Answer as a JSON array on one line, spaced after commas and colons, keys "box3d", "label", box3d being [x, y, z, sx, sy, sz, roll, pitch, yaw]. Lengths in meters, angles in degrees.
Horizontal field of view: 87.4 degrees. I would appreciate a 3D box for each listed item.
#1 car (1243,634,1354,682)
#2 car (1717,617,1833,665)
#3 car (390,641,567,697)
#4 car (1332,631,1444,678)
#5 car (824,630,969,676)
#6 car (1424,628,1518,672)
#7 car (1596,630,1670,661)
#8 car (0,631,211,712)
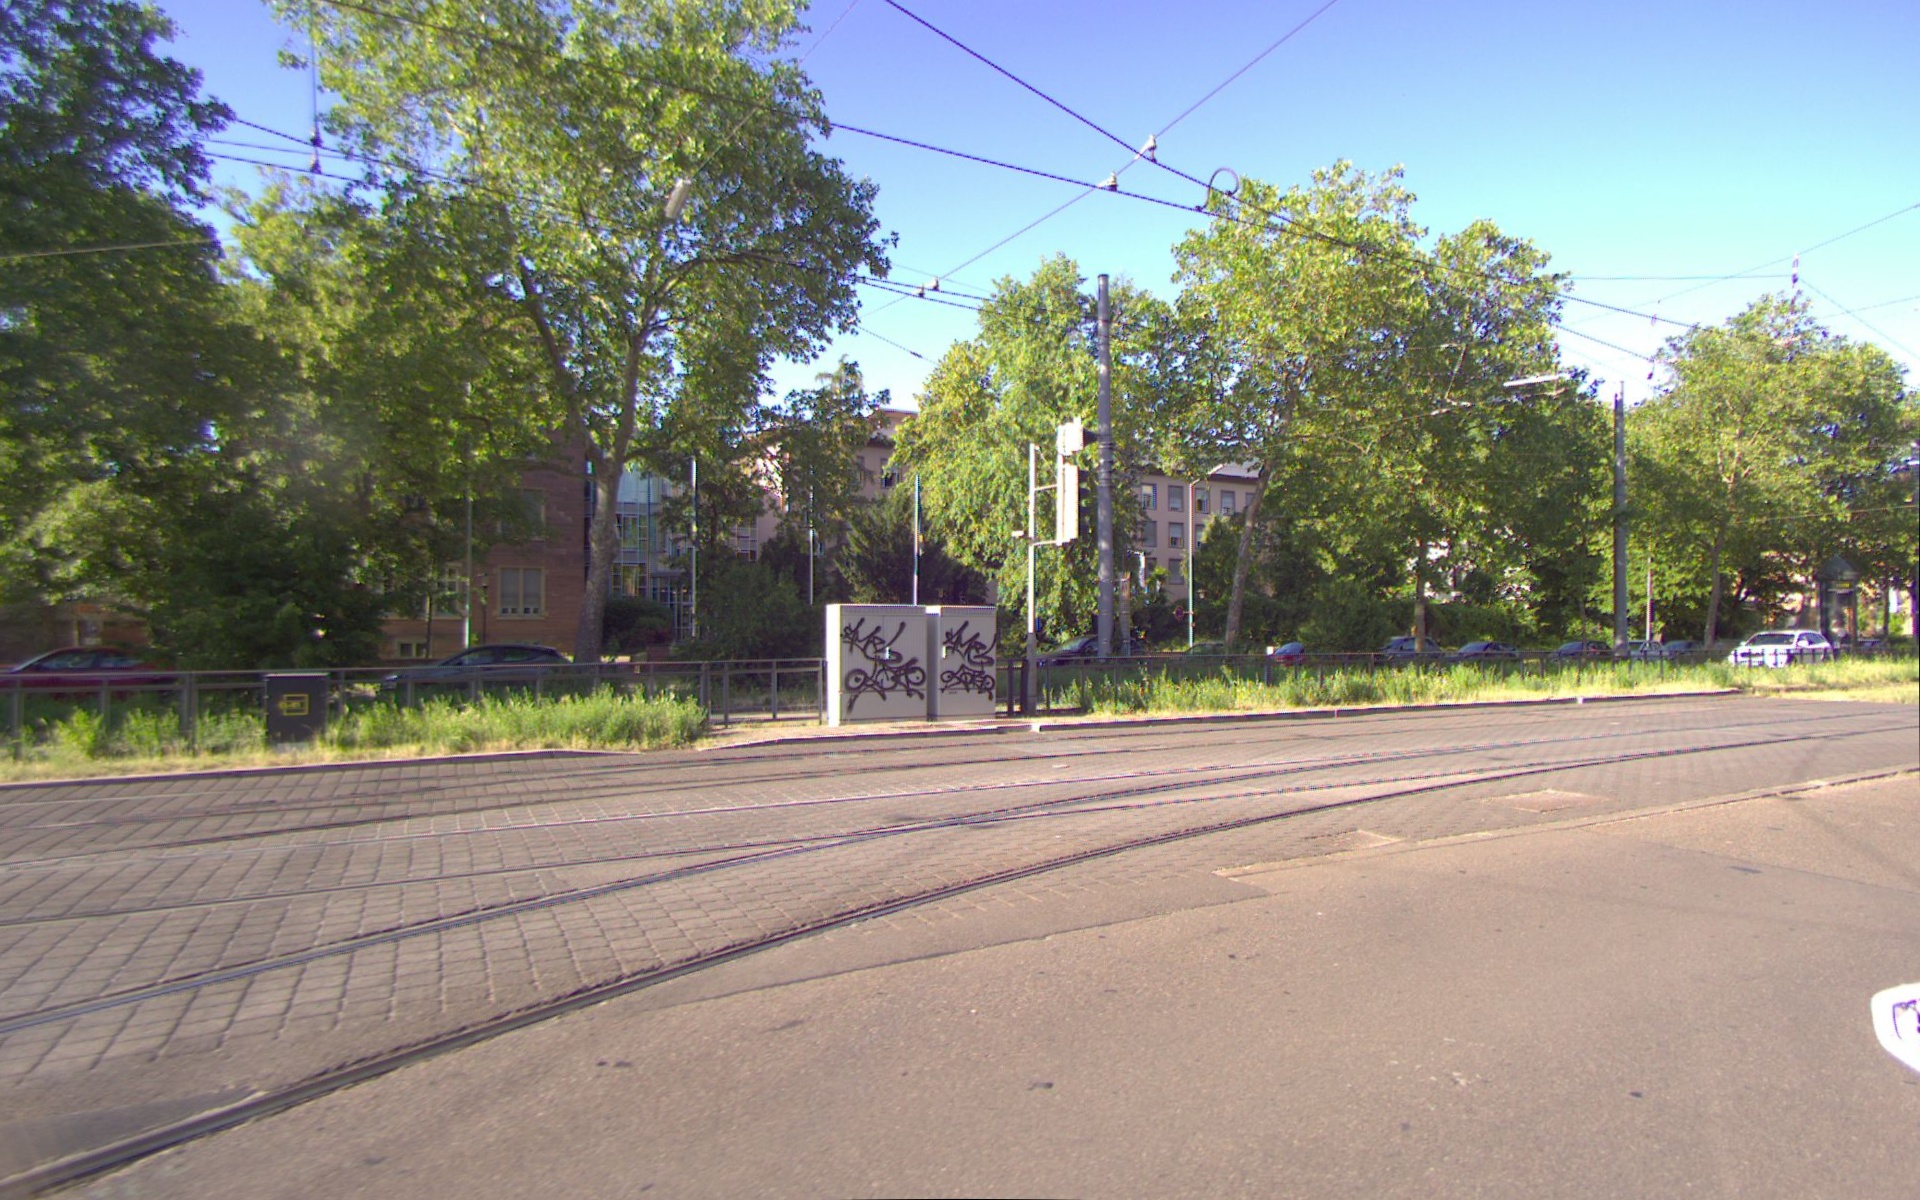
[{"box3d": [13.012, 2.188, 38.579, 3.954, 1.644, 1.983, 0, 1, -31], "label": "car"}, {"box3d": [30.835, 1.511, 37.965, 4.542, 1.641, 1.877, 0, 1, -30], "label": "car"}, {"box3d": [-11.567, 1.620, 24.236, 3.716, 1.237, 1.614, 1, -2, -28], "label": "car"}, {"box3d": [17.497, 2.195, 41.000, 4.463, 1.706, 1.983, 0, 1, -31], "label": "car"}, {"box3d": [-1.856, 1.550, 29.705, 3.975, 1.239, 1.588, 2, 0, -29], "label": "car"}, {"box3d": [22.274, 2.140, 43.785, 3.952, 1.706, 1.813, 0, 1, -30], "label": "car"}, {"box3d": [32.740, 2.190, 48.862, 3.460, 1.329, 1.561, 0, 1, -29], "label": "car"}, {"box3d": [-17.967, 1.425, 20.712, 3.769, 1.491, 1.587, 0, 1, -25], "label": "car"}]
